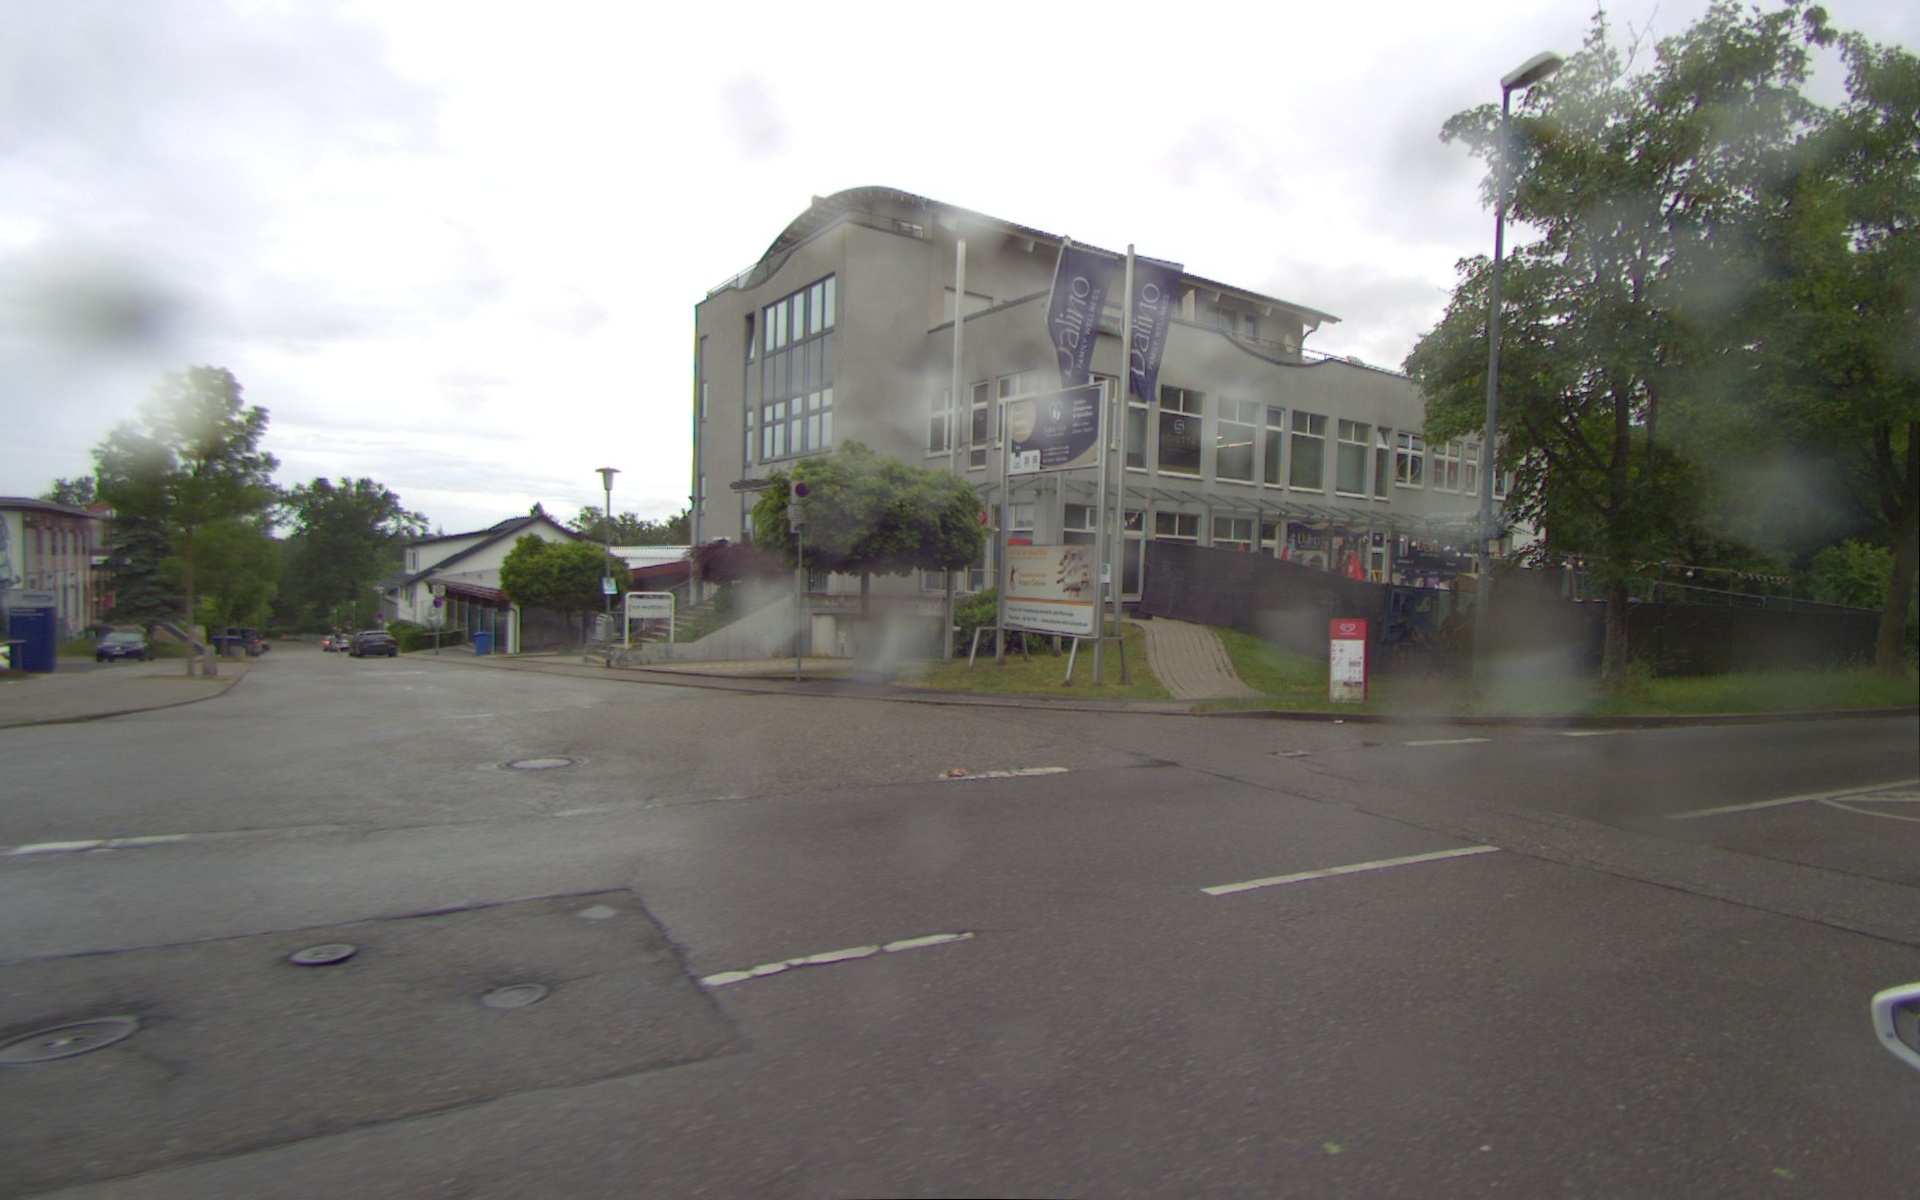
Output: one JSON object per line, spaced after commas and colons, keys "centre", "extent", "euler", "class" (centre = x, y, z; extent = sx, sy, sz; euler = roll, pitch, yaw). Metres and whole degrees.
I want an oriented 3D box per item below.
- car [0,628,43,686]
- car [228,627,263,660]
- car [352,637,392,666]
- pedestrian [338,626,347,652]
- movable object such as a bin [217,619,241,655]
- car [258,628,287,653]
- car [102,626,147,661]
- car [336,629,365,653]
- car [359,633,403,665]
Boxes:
{"centre": [-28.993, 1.853, 29.108], "extent": [3.169, 1.574, 1.493], "euler": [-10, 5, -34], "class": "car"}
{"centre": [-49.317, 2.967, 69.363], "extent": [1.852, 2.174, 3.961], "euler": [1, -1, -35], "class": "car"}
{"centre": [-35.745, 3.113, 60.995], "extent": [1.792, 1.599, 3.961], "euler": [1, -1, -35], "class": "car"}
{"centre": [-38.038, 2.405, 61.899], "extent": [0.405, 1.542, 0.417], "euler": [1, 0, -38], "class": "pedestrian"}
{"centre": [-45.062, 2.273, 61.937], "extent": [1.102, 2.174, 1.249], "euler": [1, -1, -35], "class": "movable object such as a bin"}
{"centre": [-59.018, 3.431, 86.203], "extent": [1.980, 2.040, 3.961], "euler": [1, -1, -35], "class": "car"}
{"centre": [-39.517, 2.042, 47.573], "extent": [1.481, 1.542, 3.468], "euler": [1, -1, -38], "class": "car"}
{"centre": [-54.477, 3.667, 89.790], "extent": [1.980, 2.040, 3.961], "euler": [1, -1, -35], "class": "car"}
{"centre": [-32.117, 2.663, 55.704], "extent": [1.792, 1.599, 3.961], "euler": [1, -1, -35], "class": "car"}
